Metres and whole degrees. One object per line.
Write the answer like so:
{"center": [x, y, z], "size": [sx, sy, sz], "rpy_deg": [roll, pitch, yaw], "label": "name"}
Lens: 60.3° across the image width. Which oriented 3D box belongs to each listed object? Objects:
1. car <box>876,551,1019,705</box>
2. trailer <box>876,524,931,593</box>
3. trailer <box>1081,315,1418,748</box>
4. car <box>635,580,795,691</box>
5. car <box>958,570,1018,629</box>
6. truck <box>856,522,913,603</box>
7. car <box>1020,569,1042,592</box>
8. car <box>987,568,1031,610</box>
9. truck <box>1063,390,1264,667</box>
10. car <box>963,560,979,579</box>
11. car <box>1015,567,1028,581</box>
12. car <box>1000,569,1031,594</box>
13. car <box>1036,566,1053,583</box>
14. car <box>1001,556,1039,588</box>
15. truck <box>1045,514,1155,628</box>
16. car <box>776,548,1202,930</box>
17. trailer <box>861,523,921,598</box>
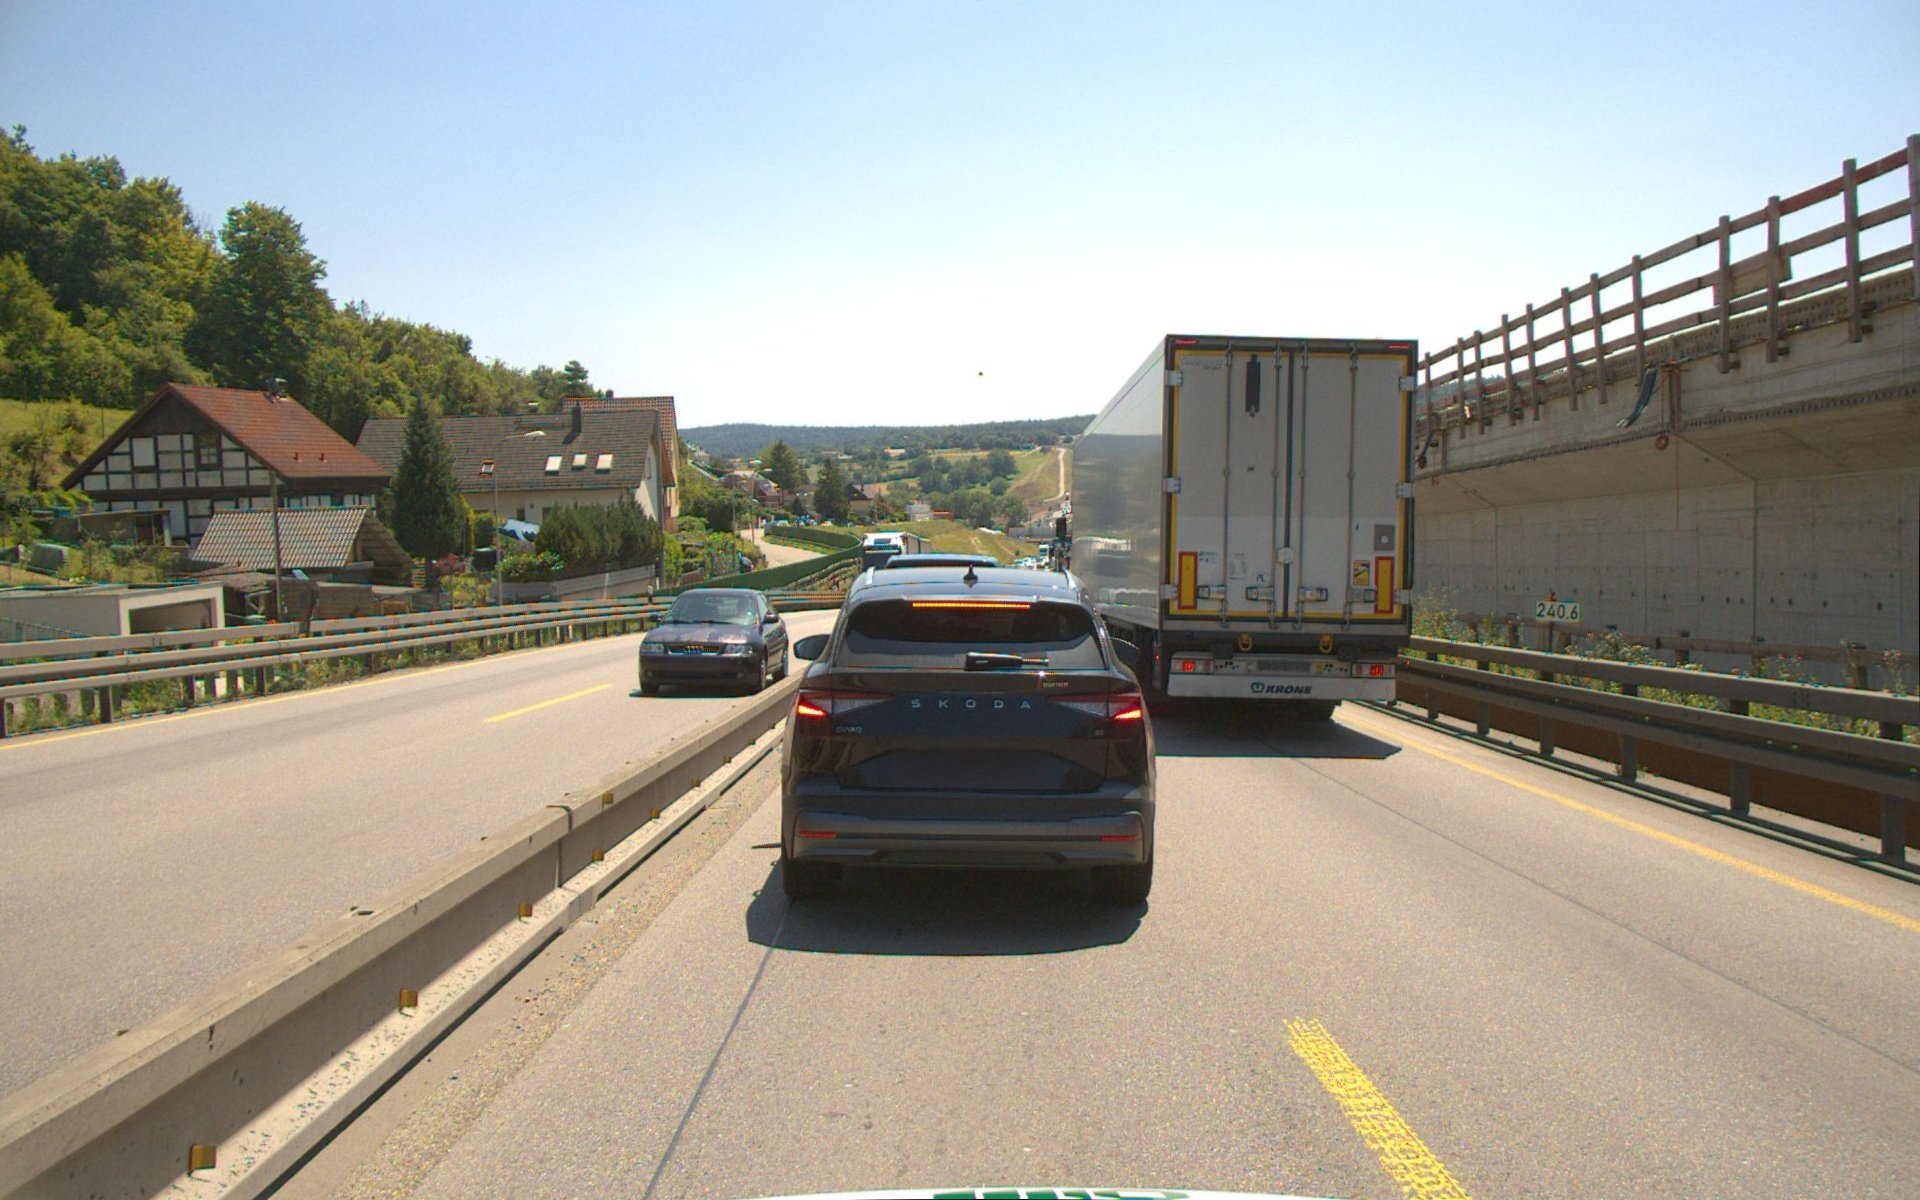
{"center": [-0.255, 0.303, 22.796], "size": [1.673, 1.914, 3.997], "rpy_deg": [1, 1, -4], "label": "car"}
{"center": [-3.490, -2.653, 104.582], "size": [2.699, 4.141, 8.639], "rpy_deg": [1, 1, 3], "label": "trailer"}
{"center": [3.261, -0.655, 21.957], "size": [2.480, 4.199, 11.548], "rpy_deg": [1, 0, 0], "label": "trailer"}
{"center": [-3.435, 0.443, 23.812], "size": [1.683, 1.433, 4.000], "rpy_deg": [-1, 1, 0], "label": "car"}
{"center": [0.813, -0.061, 49.878], "size": [1.672, 1.650, 4.000], "rpy_deg": [1, 1, -1], "label": "car"}
{"center": [-4.174, -2.069, 92.254], "size": [2.694, 4.358, 4.959], "rpy_deg": [1, 1, 3], "label": "truck"}
{"center": [5.930, -1.613, 137.871], "size": [1.665, 1.758, 3.838], "rpy_deg": [1, 0, 4], "label": "car"}
{"center": [2.018, -0.501, 69.140], "size": [1.672, 1.650, 4.000], "rpy_deg": [1, 1, -1], "label": "car"}
{"center": [3.290, -1.054, 28.758], "size": [2.462, 4.095, 8.237], "rpy_deg": [1, 0, 0], "label": "truck"}
{"center": [1.116, -3.086, 168.603], "size": [1.666, 1.758, 3.836], "rpy_deg": [1, 0, 0], "label": "car"}
{"center": [8.459, -3.569, 228.917], "size": [1.665, 1.758, 3.838], "rpy_deg": [1, 0, 4], "label": "car"}
{"center": [3.741, -1.244, 112.277], "size": [1.953, 1.613, 3.836], "rpy_deg": [1, 0, 0], "label": "car"}
{"center": [8.924, -2.701, 175.073], "size": [1.665, 1.758, 3.838], "rpy_deg": [1, 0, 4], "label": "car"}
{"center": [3.205, -1.470, 88.975], "size": [1.953, 1.613, 3.836], "rpy_deg": [1, 0, 0], "label": "car"}
{"center": [4.357, -0.820, 54.023], "size": [3.128, 3.247, 12.813], "rpy_deg": [0, 0, 3], "label": "truck"}
{"center": [-0.009, 0.605, 9.018], "size": [1.806, 1.614, 3.904], "rpy_deg": [1, 0, -4], "label": "car"}
{"center": [-3.946, -2.324, 96.210], "size": [2.699, 4.141, 8.012], "rpy_deg": [1, 1, 3], "label": "trailer"}
